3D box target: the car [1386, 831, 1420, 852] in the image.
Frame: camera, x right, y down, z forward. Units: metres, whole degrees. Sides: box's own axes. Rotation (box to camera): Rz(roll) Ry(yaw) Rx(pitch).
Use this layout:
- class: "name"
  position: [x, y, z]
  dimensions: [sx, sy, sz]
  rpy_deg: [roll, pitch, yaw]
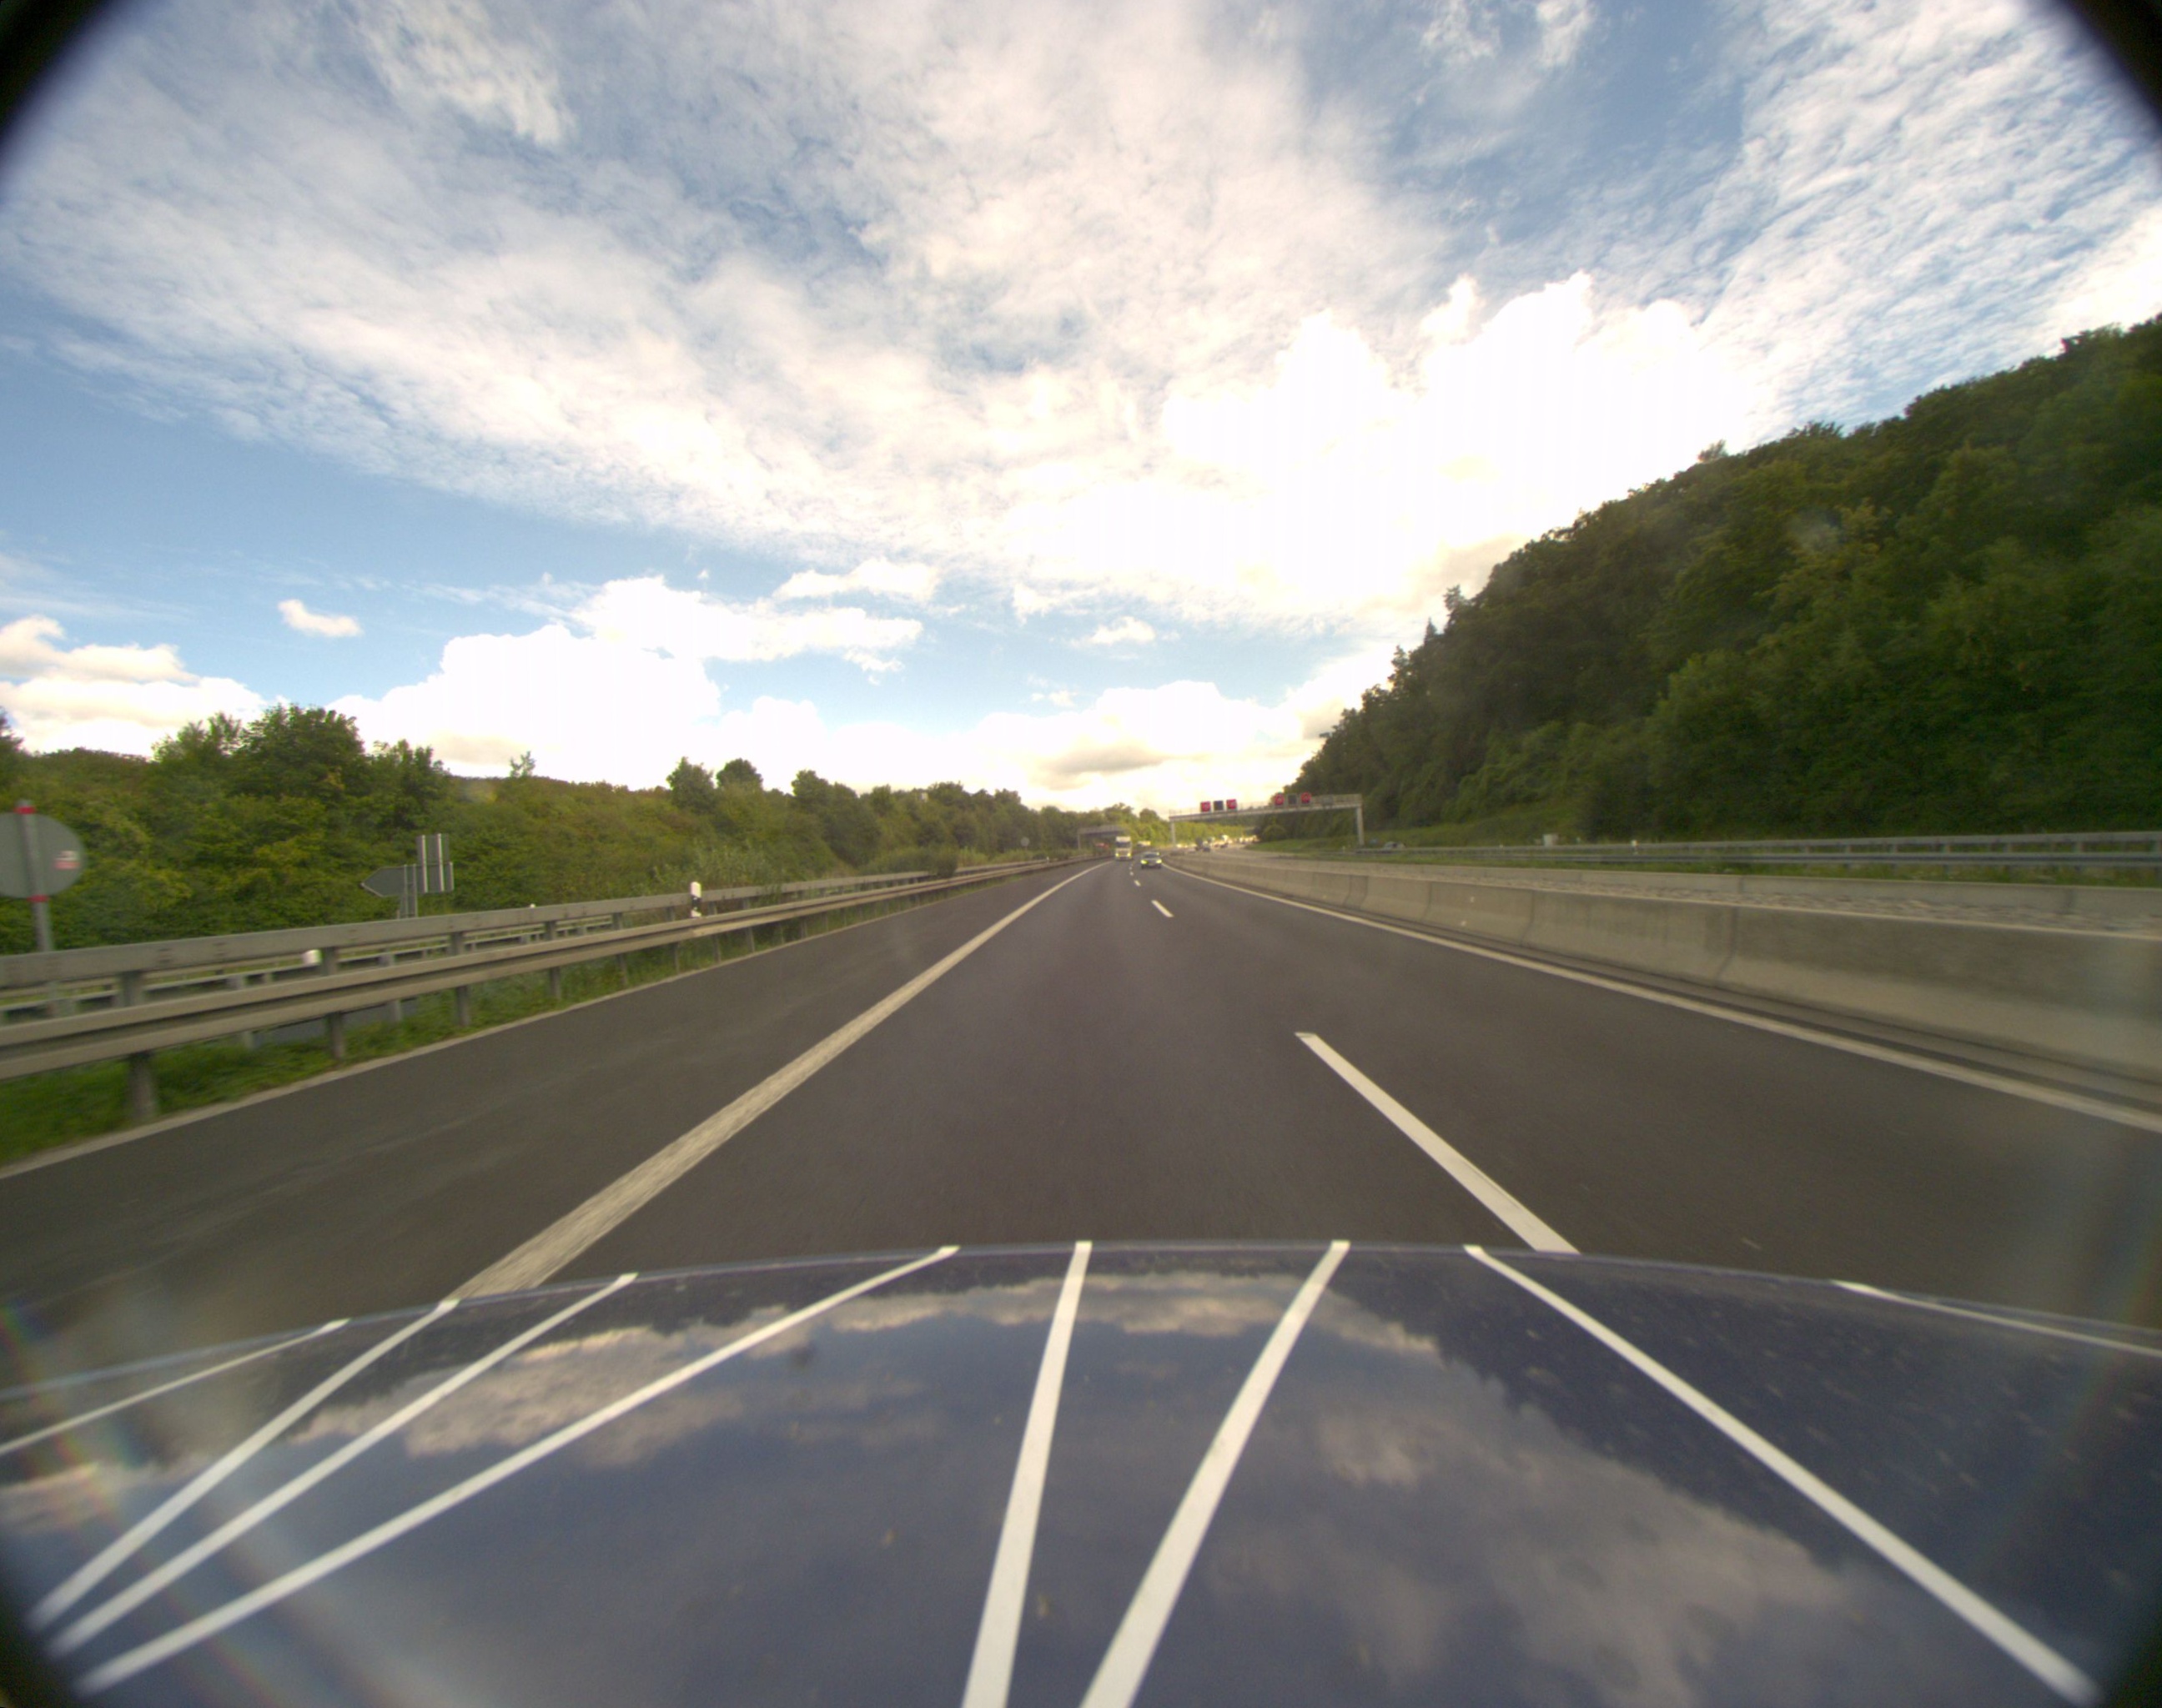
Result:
- class: "car"
  position: [33.264, -1.291, 78.586]
  dimensions: [1.998, 2.002, 4.000]
  rpy_deg: [-3, 0, 3]

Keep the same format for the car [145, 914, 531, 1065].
- class: "car"
  position: [-11.358, 1.957, 12.176]
  dimensions: [1.788, 1.562, 4.344]
  rpy_deg: [-2, 0, 1]

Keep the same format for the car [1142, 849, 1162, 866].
- class: "car"
  position: [6.650, 0.328, 70.967]
  dimensions: [1.662, 1.464, 4.001]
  rpy_deg: [-2, 1, 7]

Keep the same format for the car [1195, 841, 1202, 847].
- class: "car"
  position: [36.494, -3.042, 236.522]
  dimensions: [1.997, 1.631, 4.002]
  rpy_deg: [-2, 1, 8]

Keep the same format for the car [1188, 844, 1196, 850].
- class: "car"
  position: [28.868, -1.895, 196.936]
  dimensions: [1.768, 1.572, 4.934]
  rpy_deg: [-3, 1, 6]

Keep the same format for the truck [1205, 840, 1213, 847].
- class: "truck"
  position: [40.397, -3.353, 239.457]
  dimensions: [2.188, 2.213, 5.573]
  rpy_deg: [-2, 1, 7]

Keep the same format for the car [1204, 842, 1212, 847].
- class: "car"
  position: [35.289, -2.583, 211.274]
  dimensions: [1.669, 1.387, 4.602]
  rpy_deg: [-2, 1, 6]

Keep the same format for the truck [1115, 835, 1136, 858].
- class: "truck"
  position: [7.718, -1.404, 130.316]
  dimensions: [2.795, 3.563, 11.460]
  rpy_deg: [-2, 2, 6]

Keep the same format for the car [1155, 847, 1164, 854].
- class: "car"
  position: [17.781, -0.776, 172.078]
  dimensions: [1.997, 1.464, 4.002]
  rpy_deg: [-2, 0, 7]
